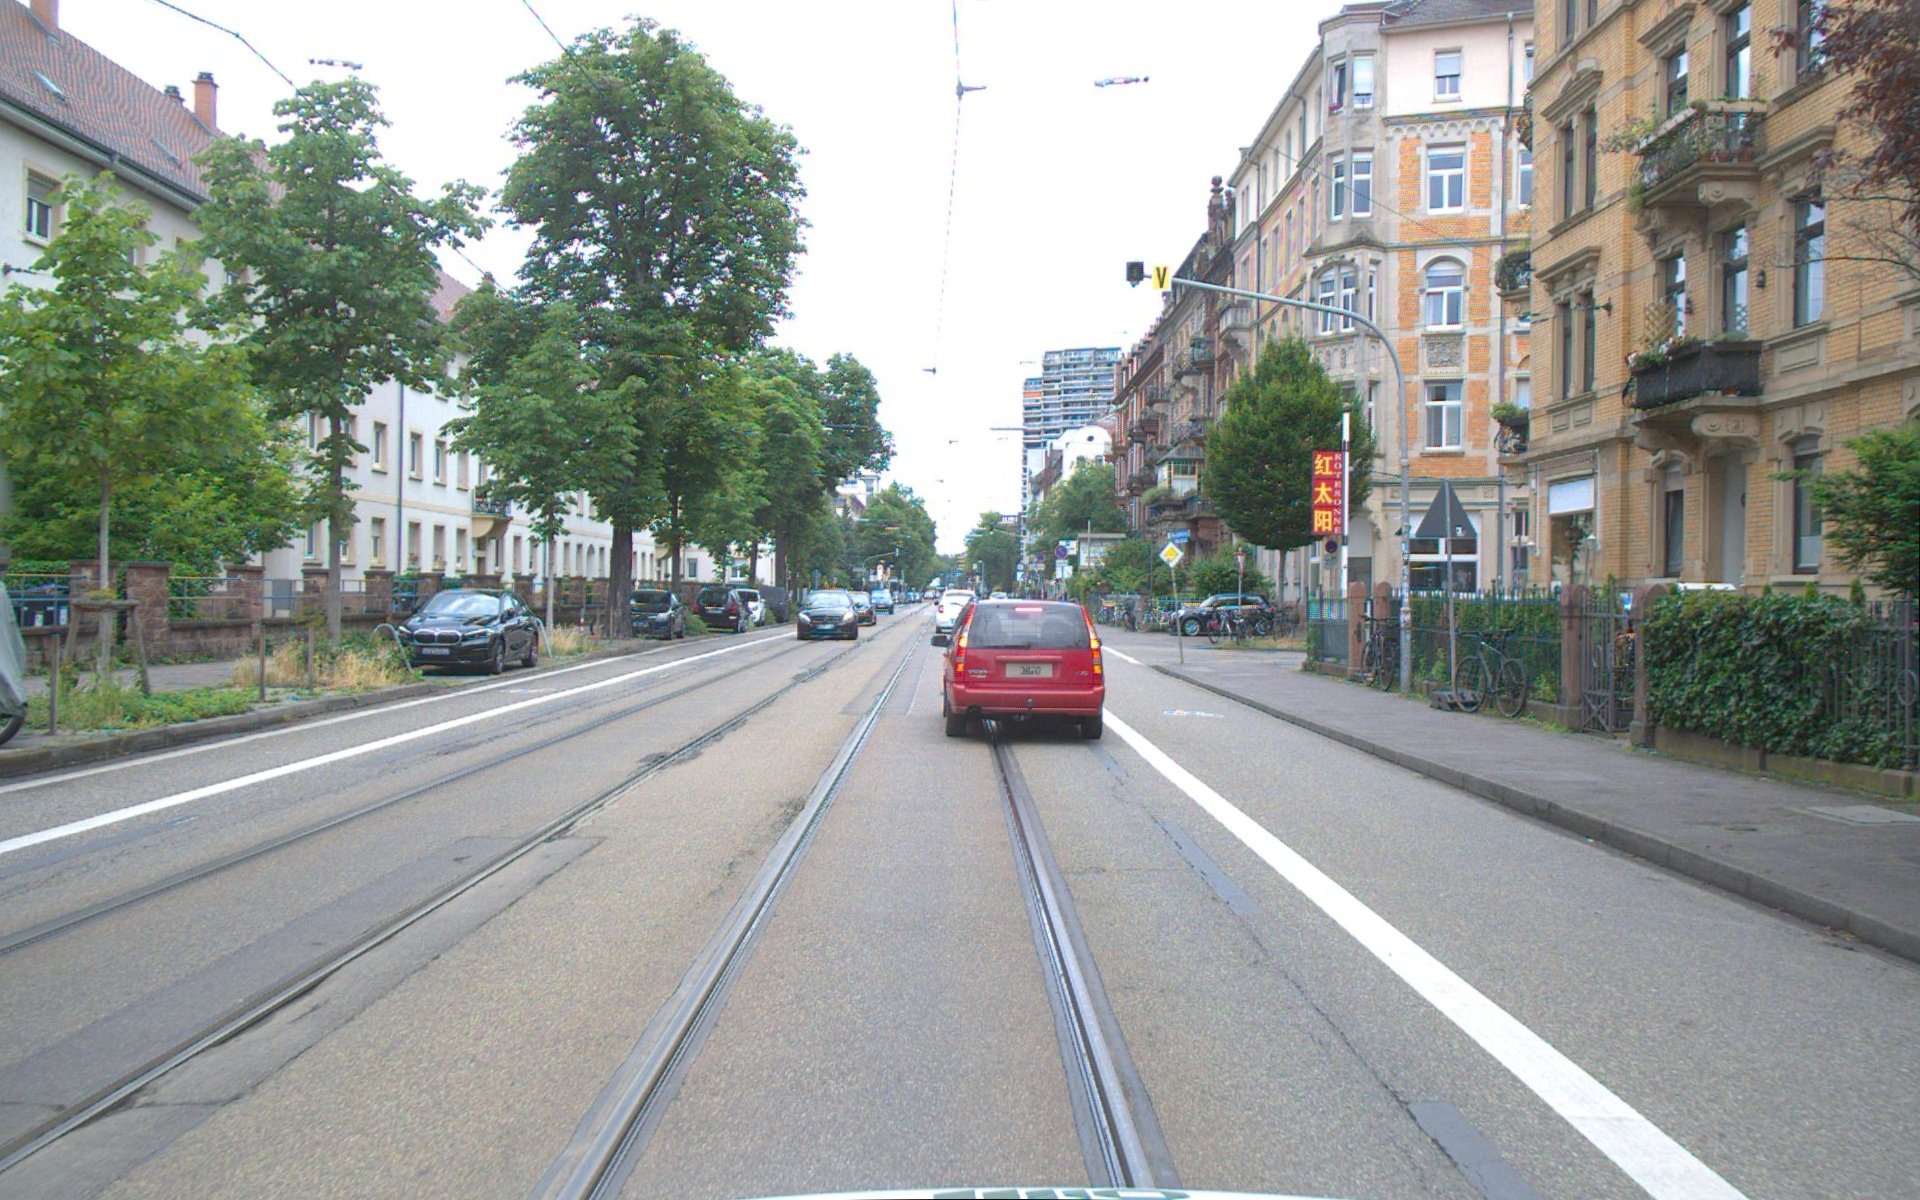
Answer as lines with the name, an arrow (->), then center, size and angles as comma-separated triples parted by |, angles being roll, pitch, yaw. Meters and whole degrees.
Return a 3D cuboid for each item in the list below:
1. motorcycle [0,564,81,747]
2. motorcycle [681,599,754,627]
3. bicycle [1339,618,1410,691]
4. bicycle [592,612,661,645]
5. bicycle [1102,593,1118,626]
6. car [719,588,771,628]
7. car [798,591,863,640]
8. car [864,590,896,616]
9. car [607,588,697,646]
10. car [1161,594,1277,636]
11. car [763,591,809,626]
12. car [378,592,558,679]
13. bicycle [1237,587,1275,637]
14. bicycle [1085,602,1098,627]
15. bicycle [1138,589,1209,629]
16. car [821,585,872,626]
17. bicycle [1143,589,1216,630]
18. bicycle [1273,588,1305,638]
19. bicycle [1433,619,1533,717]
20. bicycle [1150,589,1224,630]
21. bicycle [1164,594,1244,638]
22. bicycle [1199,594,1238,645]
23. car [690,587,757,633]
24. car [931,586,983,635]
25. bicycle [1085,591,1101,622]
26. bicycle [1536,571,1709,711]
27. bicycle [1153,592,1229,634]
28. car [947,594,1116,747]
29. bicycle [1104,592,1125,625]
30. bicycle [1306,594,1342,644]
motorcycle -> -8.860, 0.459, 14.679 | 2.226, 1.538, 0.923 | 1, -1, 35
motorcycle -> -9.615, 0.514, 65.745 | 2.815, 1.095, 1.098 | 1, 0, -7
bicycle -> 6.366, 0.815, 25.508 | 0.512, 1.048, 2.176 | 1, 0, -1
bicycle -> -9.061, 0.773, 44.923 | 1.713, 0.858, 0.684 | 1, 0, 0
bicycle -> 6.462, 0.397, 71.398 | 0.540, 1.424, 1.734 | 0, 0, 0
car -> -9.198, 0.299, 71.065 | 1.678, 1.608, 4.000 | 2, 0, 0
car -> -3.898, 0.433, 50.306 | 1.720, 1.404, 4.026 | 1, 0, -1
car -> -5.205, 0.182, 108.416 | 1.855, 1.639, 4.500 | 2, 0, 0
car -> -8.618, 0.447, 46.526 | 1.682, 1.508, 4.001 | 1, 0, 1
car -> 8.989, 0.508, 57.327 | 3.902, 1.385, 1.894 | 1, 0, 10
car -> -7.929, 0.366, 75.711 | 1.684, 1.512, 4.000 | 1, 0, 0
car -> -8.768, 0.580, 29.881 | 1.851, 1.422, 4.417 | 1, 0, 1
bicycle -> 9.467, 0.382, 52.820 | 0.898, 1.533, 2.382 | 1, 0, 16
bicycle -> 6.126, 0.667, 77.085 | 0.480, 1.118, 1.734 | 1, 0, 0
bicycle -> 9.207, 0.387, 71.387 | 2.916, 1.653, 1.049 | 1, 0, -3
car -> -4.786, 0.210, 70.372 | 1.855, 1.639, 4.499 | 1, 0, -1
bicycle -> 9.314, 0.396, 70.212 | 2.916, 1.653, 1.049 | 1, 0, -3
bicycle -> 10.481, 0.402, 52.618 | 0.773, 1.533, 2.382 | 1, 0, 16
bicycle -> 6.503, 0.817, 20.670 | 0.512, 1.118, 2.176 | -2, 0, -1
bicycle -> 9.459, 0.406, 69.067 | 2.916, 1.653, 1.049 | 1, 0, -3
bicycle -> 9.520, 0.620, 64.649 | 2.916, 1.653, 1.049 | 1, 0, -3
bicycle -> 8.094, 0.580, 51.719 | 0.898, 1.533, 2.382 | 1, 0, 16
car -> -8.498, 0.340, 59.716 | 1.813, 1.590, 3.942 | 1, 0, 0
car -> -0.074, 0.354, 58.867 | 1.683, 1.653, 3.942 | 1, 0, 2
bicycle -> 6.480, 0.305, 80.865 | 0.544, 1.483, 2.985 | 1, 0, 1
bicycle -> 8.337, 0.479, 21.011 | 0.971, 1.631, 2.963 | 1, 0, 0
bicycle -> 9.438, 0.526, 67.629 | 2.916, 1.653, 1.049 | 1, 0, -3
car -> 0.690, 0.683, 18.146 | 1.654, 1.466, 3.742 | 0, 1, -1
bicycle -> 6.325, 0.336, 67.795 | 0.694, 1.323, 1.904 | 1, 0, 0
bicycle -> 11.460, 0.578, 52.012 | 0.898, 1.533, 2.382 | 1, 0, 16
